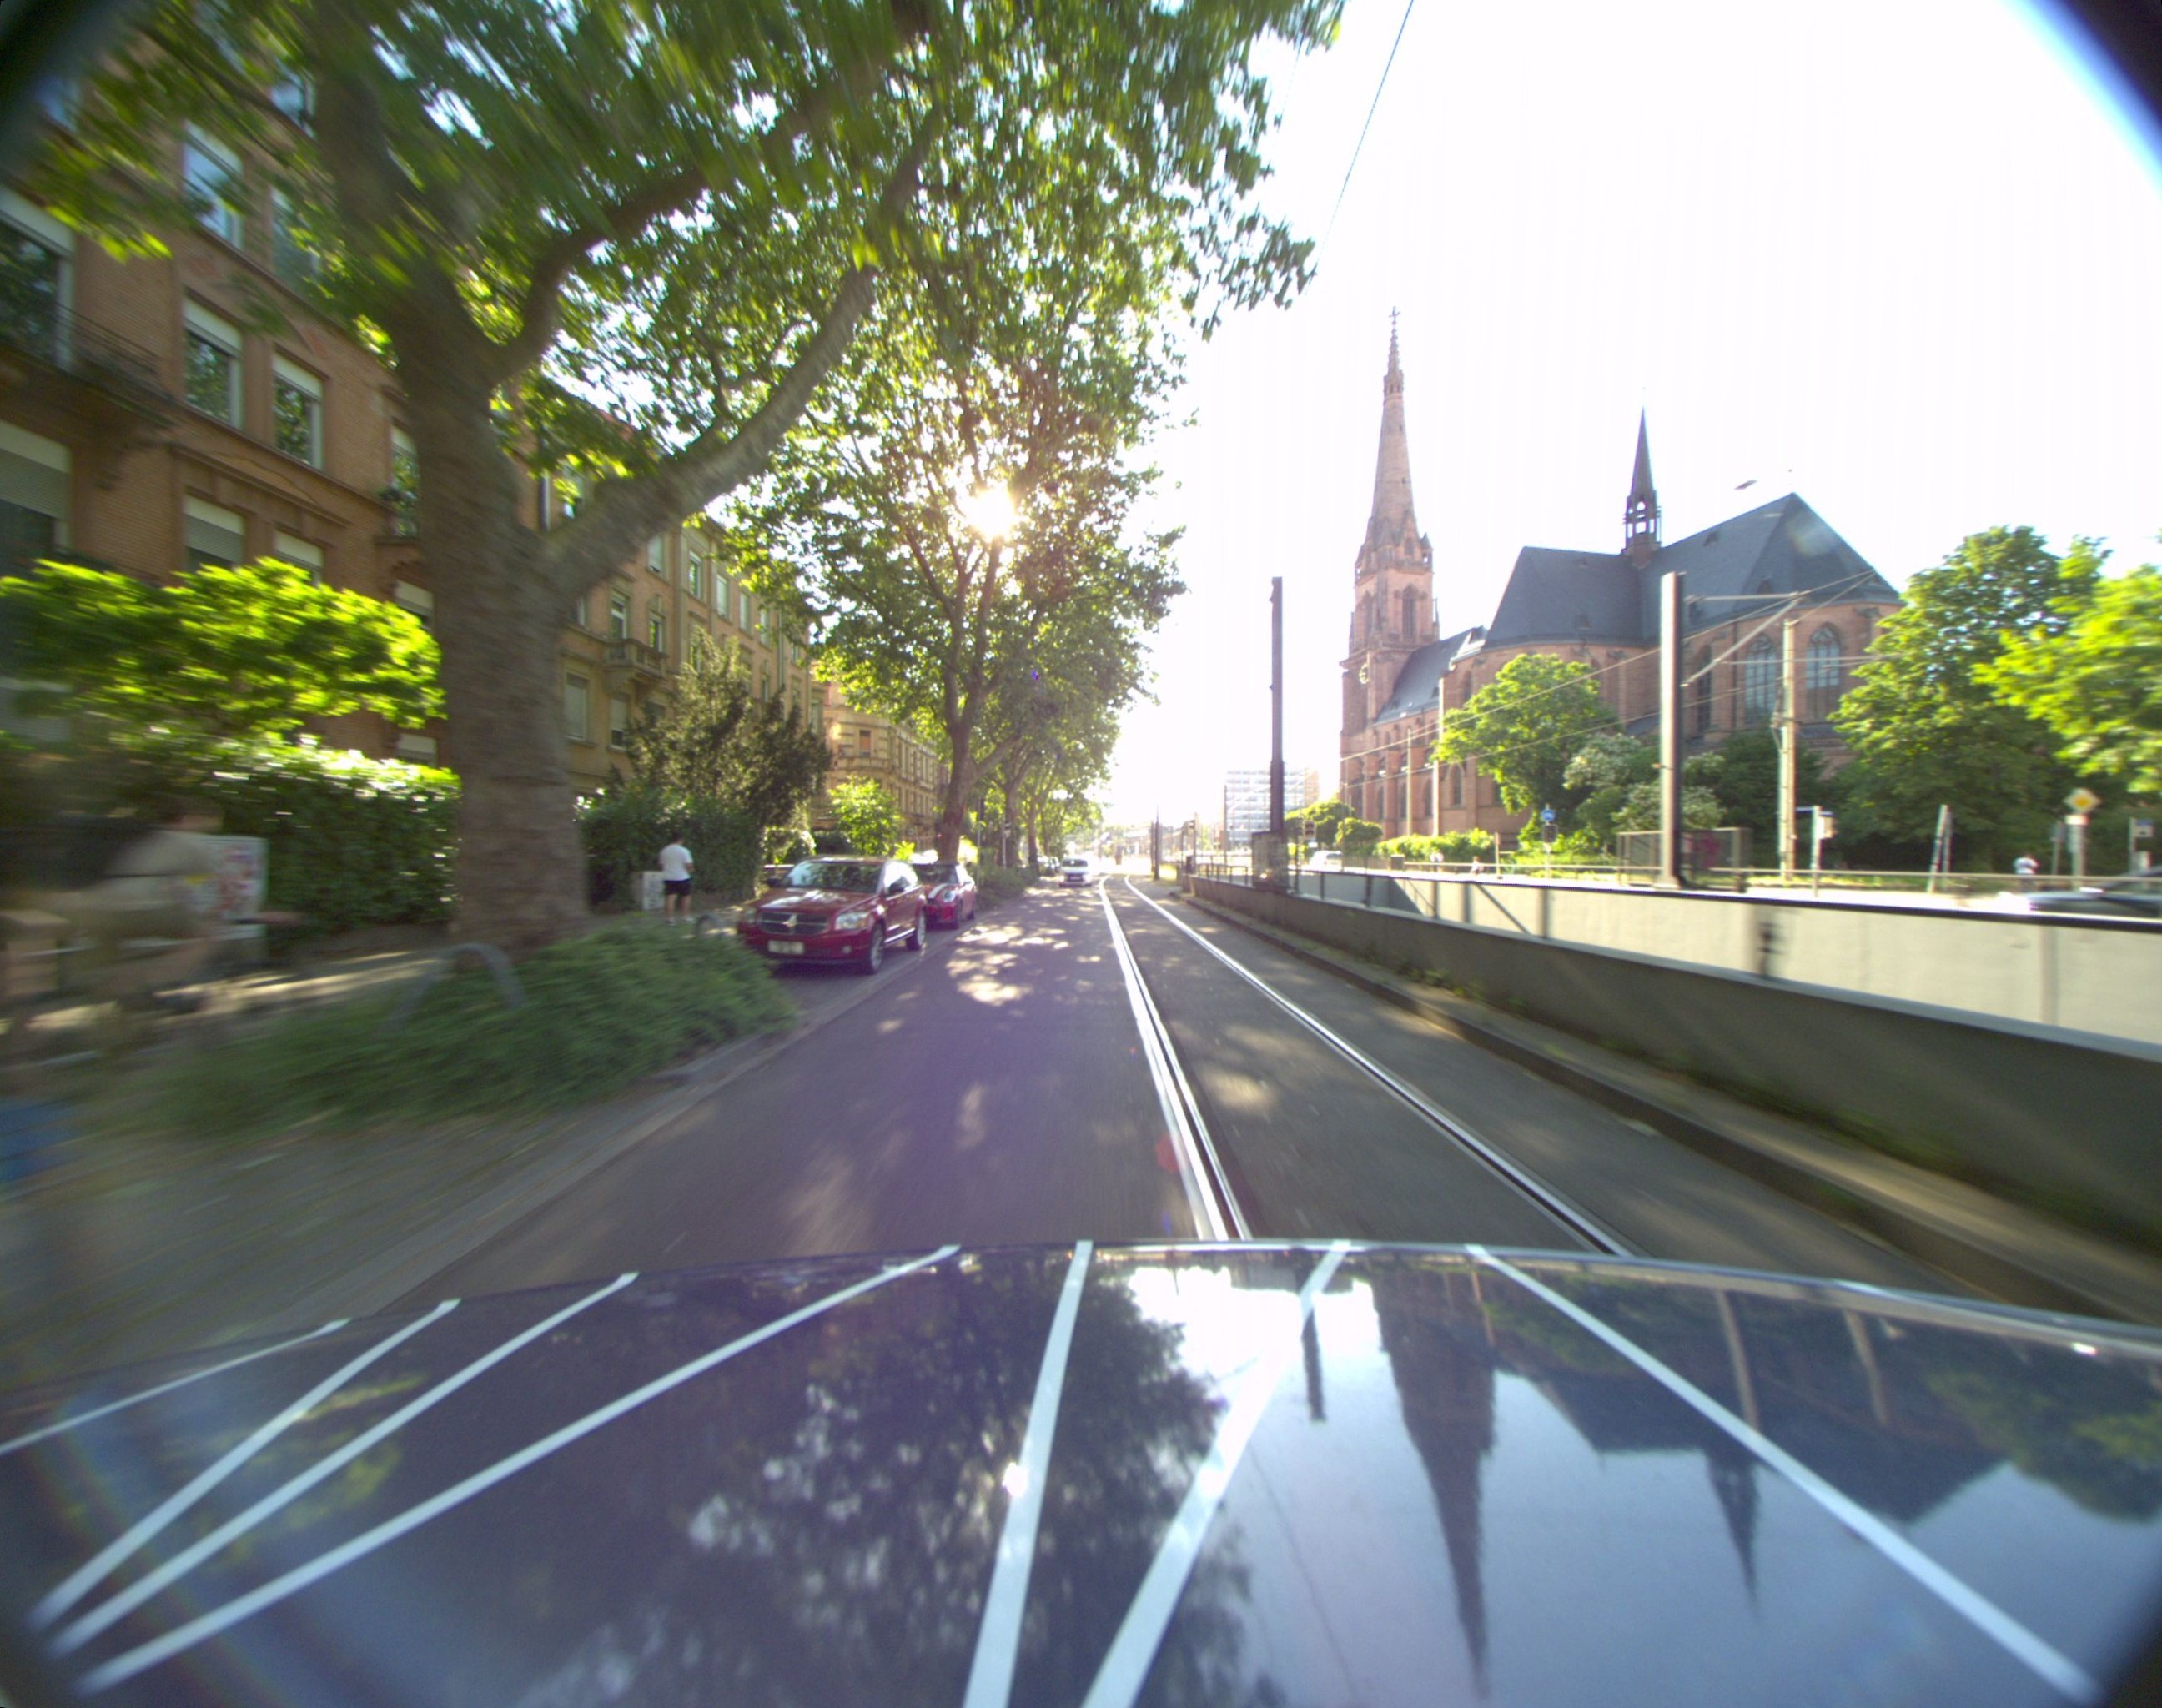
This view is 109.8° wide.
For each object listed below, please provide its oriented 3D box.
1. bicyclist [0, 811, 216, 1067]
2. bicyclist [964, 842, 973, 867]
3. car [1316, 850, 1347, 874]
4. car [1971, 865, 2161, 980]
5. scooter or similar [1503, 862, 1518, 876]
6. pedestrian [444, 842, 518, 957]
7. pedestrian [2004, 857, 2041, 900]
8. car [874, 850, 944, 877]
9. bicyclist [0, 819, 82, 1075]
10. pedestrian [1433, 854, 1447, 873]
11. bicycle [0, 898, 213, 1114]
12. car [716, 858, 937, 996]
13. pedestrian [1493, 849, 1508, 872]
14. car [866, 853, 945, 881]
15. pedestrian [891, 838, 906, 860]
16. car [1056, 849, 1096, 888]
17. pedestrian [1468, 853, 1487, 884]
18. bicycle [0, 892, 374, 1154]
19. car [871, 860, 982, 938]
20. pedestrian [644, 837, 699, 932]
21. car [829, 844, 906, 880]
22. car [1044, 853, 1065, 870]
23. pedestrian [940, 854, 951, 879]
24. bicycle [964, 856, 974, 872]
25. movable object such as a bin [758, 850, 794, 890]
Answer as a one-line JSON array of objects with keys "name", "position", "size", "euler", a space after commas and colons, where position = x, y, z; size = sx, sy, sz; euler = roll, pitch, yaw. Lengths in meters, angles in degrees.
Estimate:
[{"name": "bicyclist", "position": [-5.661, 0.457, 4.391], "size": [0.571, 1.372, 0.644], "euler": [0, 1, 0]}, {"name": "bicyclist", "position": [-7.543, 0.033, 50.889], "size": [0.544, 1.616, 0.644], "euler": [1, 0, -5]}, {"name": "car", "position": [22.959, 0.673, 69.797], "size": [1.997, 2.002, 5.015], "euler": [2, 1, 10]}, {"name": "car", "position": [16.261, 0.988, 10.799], "size": [1.976, 1.495, 4.407], "euler": [-3, 0, -2]}, {"name": "scooter or similar", "position": [30.789, 1.083, 54.514], "size": [0.309, 0.930, 0.919], "euler": [-3, 0, -20]}, {"name": "pedestrian", "position": [-8.722, 0.648, 11.068], "size": [0.531, 1.618, 0.618], "euler": [1, 0, 1]}, {"name": "pedestrian", "position": [36.893, 0.946, 29.770], "size": [0.512, 1.645, 0.720], "euler": [-2, 1, -1]}, {"name": "car", "position": [-12.280, 0.685, 54.540], "size": [4.559, 1.835, 1.907], "euler": [-1, 1, 0]}, {"name": "bicyclist", "position": [-6.536, 0.538, 4.419], "size": [0.571, 1.478, 0.644], "euler": [0, 1, 0]}, {"name": "pedestrian", "position": [29.121, 0.780, 61.603], "size": [0.587, 1.480, 0.946], "euler": [-3, 1, -2]}, {"name": "bicycle", "position": [-6.547, 0.923, 4.450], "size": [0.562, 1.171, 2.021], "euler": [-1, 1, 0]}, {"name": "car", "position": [-3.475, 0.887, 11.348], "size": [1.718, 1.540, 4.500], "euler": [1, 1, 1]}, {"name": "pedestrian", "position": [33.164, 0.499, 60.109], "size": [0.587, 1.774, 0.946], "euler": [-3, 1, -2]}, {"name": "car", "position": [-11.324, 0.827, 49.228], "size": [4.559, 1.530, 1.907], "euler": [-3, 1, -1]}, {"name": "pedestrian", "position": [-13.690, -0.356, 56.929], "size": [0.888, 1.581, 0.875], "euler": [-3, 1, -6]}, {"name": "car", "position": [-0.201, 0.790, 39.170], "size": [1.823, 1.727, 4.003], "euler": [-3, -4, 2]}, {"name": "pedestrian", "position": [21.900, 0.814, 41.951], "size": [0.494, 1.663, 0.754], "euler": [-3, 1, -14]}, {"name": "bicycle", "position": [-5.692, 0.898, 4.691], "size": [0.562, 1.171, 2.225], "euler": [2, 1, 0]}, {"name": "car", "position": [-3.388, 0.932, 17.346], "size": [1.719, 1.454, 3.999], "euler": [0, 1, 0]}, {"name": "pedestrian", "position": [-7.820, 0.569, 14.526], "size": [0.690, 1.775, 0.644], "euler": [0, 0, -1]}, {"name": "car", "position": [-12.629, 0.497, 45.163], "size": [3.997, 2.001, 2.001], "euler": [0, -3, -2]}, {"name": "car", "position": [-2.513, 0.719, 72.967], "size": [1.680, 1.507, 4.723], "euler": [1, 0, 2]}, {"name": "pedestrian", "position": [-8.318, 0.754, 46.749], "size": [0.540, 1.540, 0.607], "euler": [0, -2, 0]}, {"name": "bicycle", "position": [-7.495, 0.678, 50.837], "size": [0.562, 1.031, 1.932], "euler": [-1, -1, -6]}, {"name": "movable object such as a bin", "position": [-11.430, 0.601, 28.509], "size": [0.909, 1.456, 1.083], "euler": [2, 0, -1]}]
